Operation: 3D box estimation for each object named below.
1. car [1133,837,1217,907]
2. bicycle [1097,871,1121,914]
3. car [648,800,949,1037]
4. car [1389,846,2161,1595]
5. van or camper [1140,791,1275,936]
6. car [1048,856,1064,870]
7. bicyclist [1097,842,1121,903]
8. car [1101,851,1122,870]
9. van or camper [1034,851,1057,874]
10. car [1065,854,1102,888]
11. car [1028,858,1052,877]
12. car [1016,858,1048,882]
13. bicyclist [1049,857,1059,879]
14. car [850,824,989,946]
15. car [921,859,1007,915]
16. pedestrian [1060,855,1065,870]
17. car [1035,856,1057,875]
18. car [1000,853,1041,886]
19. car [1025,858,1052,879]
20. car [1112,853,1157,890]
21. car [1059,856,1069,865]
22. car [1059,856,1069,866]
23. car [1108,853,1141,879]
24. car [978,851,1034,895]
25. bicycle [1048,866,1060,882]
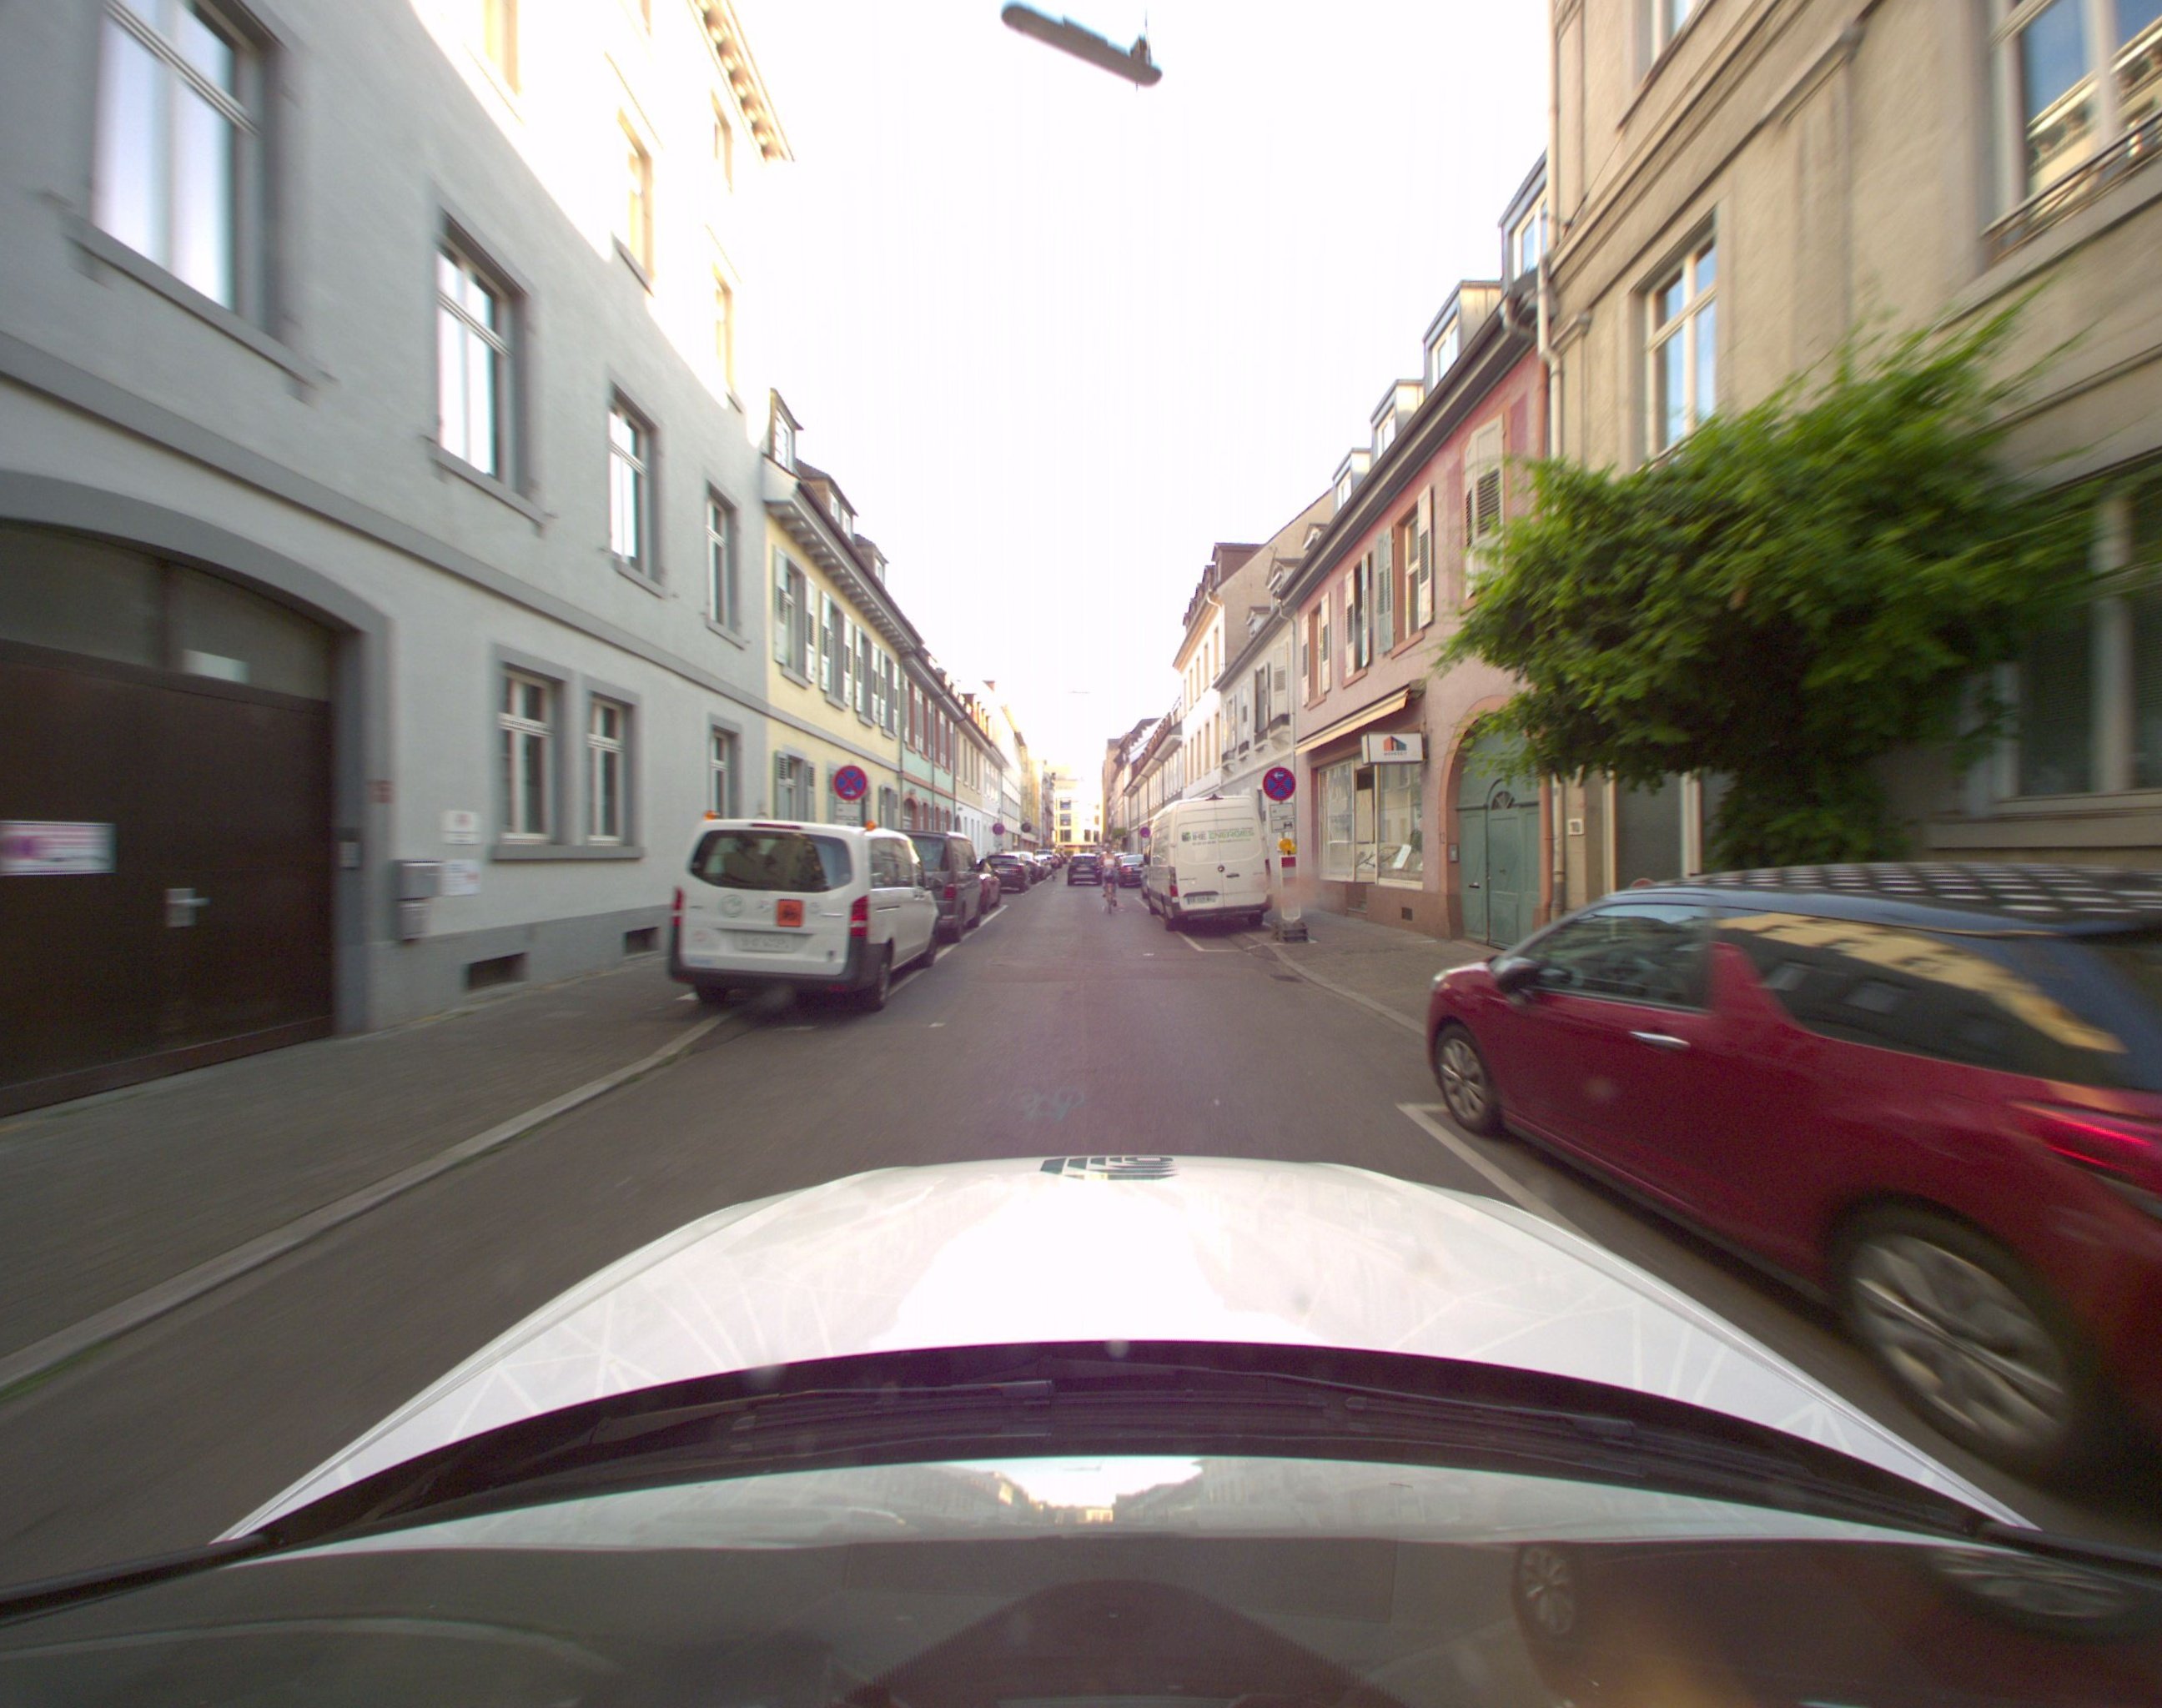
[{"bbox_3d":[2.877,0.533,26.075,1.935,1.894,5.315,-4,0,0],"label":"car"},{"bbox_3d":[0.739,1.009,21.752,0.611,1.082,1.809,0,0,1],"label":"bicycle"},{"bbox_3d":[-2.844,0.551,9.575,1.857,2.013,5.103,-1,0,-2],"label":"car"},{"bbox_3d":[2.921,0.733,3.493,1.651,1.505,3.750,-1,0,-2],"label":"car"},{"bbox_3d":[2.590,0.179,18.525,2.043,2.637,7.063,-1,0,1],"label":"van or camper"},{"bbox_3d":[-2.772,0.995,90.461,1.648,1.561,3.605,1,0,0],"label":"car"},{"bbox_3d":[0.731,0.486,21.658,0.618,1.574,0.683,0,-1,1],"label":"bicyclist"},{"bbox_3d":[2.518,0.524,68.353,1.648,1.561,3.605,1,0,0],"label":"car"},{"bbox_3d":[-3.157,0.740,73.740,1.838,2.013,4.677,1,0,0],"label":"van or camper"},{"bbox_3d":[0.120,0.838,41.960,1.814,1.618,3.999,1,0,-1],"label":"car"},{"bbox_3d":[-3.170,1.036,62.953,1.648,1.411,3.605,1,0,0],"label":"car"},{"bbox_3d":[-3.054,0.988,51.453,1.913,1.434,4.290,1,0,-2],"label":"car"},{"bbox_3d":[-1.669,0.851,50.034,0.604,1.369,0.621,0,-1,0],"label":"bicyclist"},{"bbox_3d":[-2.976,0.518,16.046,1.857,2.013,4.811,-1,0,-2],"label":"car"},{"bbox_3d":[-3.144,0.846,22.713,1.759,1.401,4.262,0,0,0],"label":"car"},{"bbox_3d":[-2.137,0.956,94.215,0.552,1.752,0.567,0,-1,-3],"label":"pedestrian"},{"bbox_3d":[-2.881,0.942,67.936,1.648,1.561,3.605,1,0,0],"label":"car"},{"bbox_3d":[-3.296,0.820,44.925,1.992,1.707,4.532,1,0,-2],"label":"car"},{"bbox_3d":[-2.992,1.012,57.598,1.648,1.411,3.902,1,0,0],"label":"car"},{"bbox_3d":[2.491,0.814,38.939,1.813,1.530,5.072,-4,0,1],"label":"car"},{"bbox_3d":[-2.933,1.142,142.594,1.648,1.561,3.605,1,0,0],"label":"car"},{"bbox_3d":[-2.792,1.113,135.768,1.648,1.561,3.605,1,0,0],"label":"car"},{"bbox_3d":[2.962,0.809,56.214,1.912,1.738,4.151,1,0,-1],"label":"car"},{"bbox_3d":[-3.012,0.752,33.756,1.796,1.676,4.491,-1,0,1],"label":"car"},{"bbox_3d":[-1.665,1.203,49.929,0.611,0.932,1.887,0,0,1],"label":"bicycle"}]
